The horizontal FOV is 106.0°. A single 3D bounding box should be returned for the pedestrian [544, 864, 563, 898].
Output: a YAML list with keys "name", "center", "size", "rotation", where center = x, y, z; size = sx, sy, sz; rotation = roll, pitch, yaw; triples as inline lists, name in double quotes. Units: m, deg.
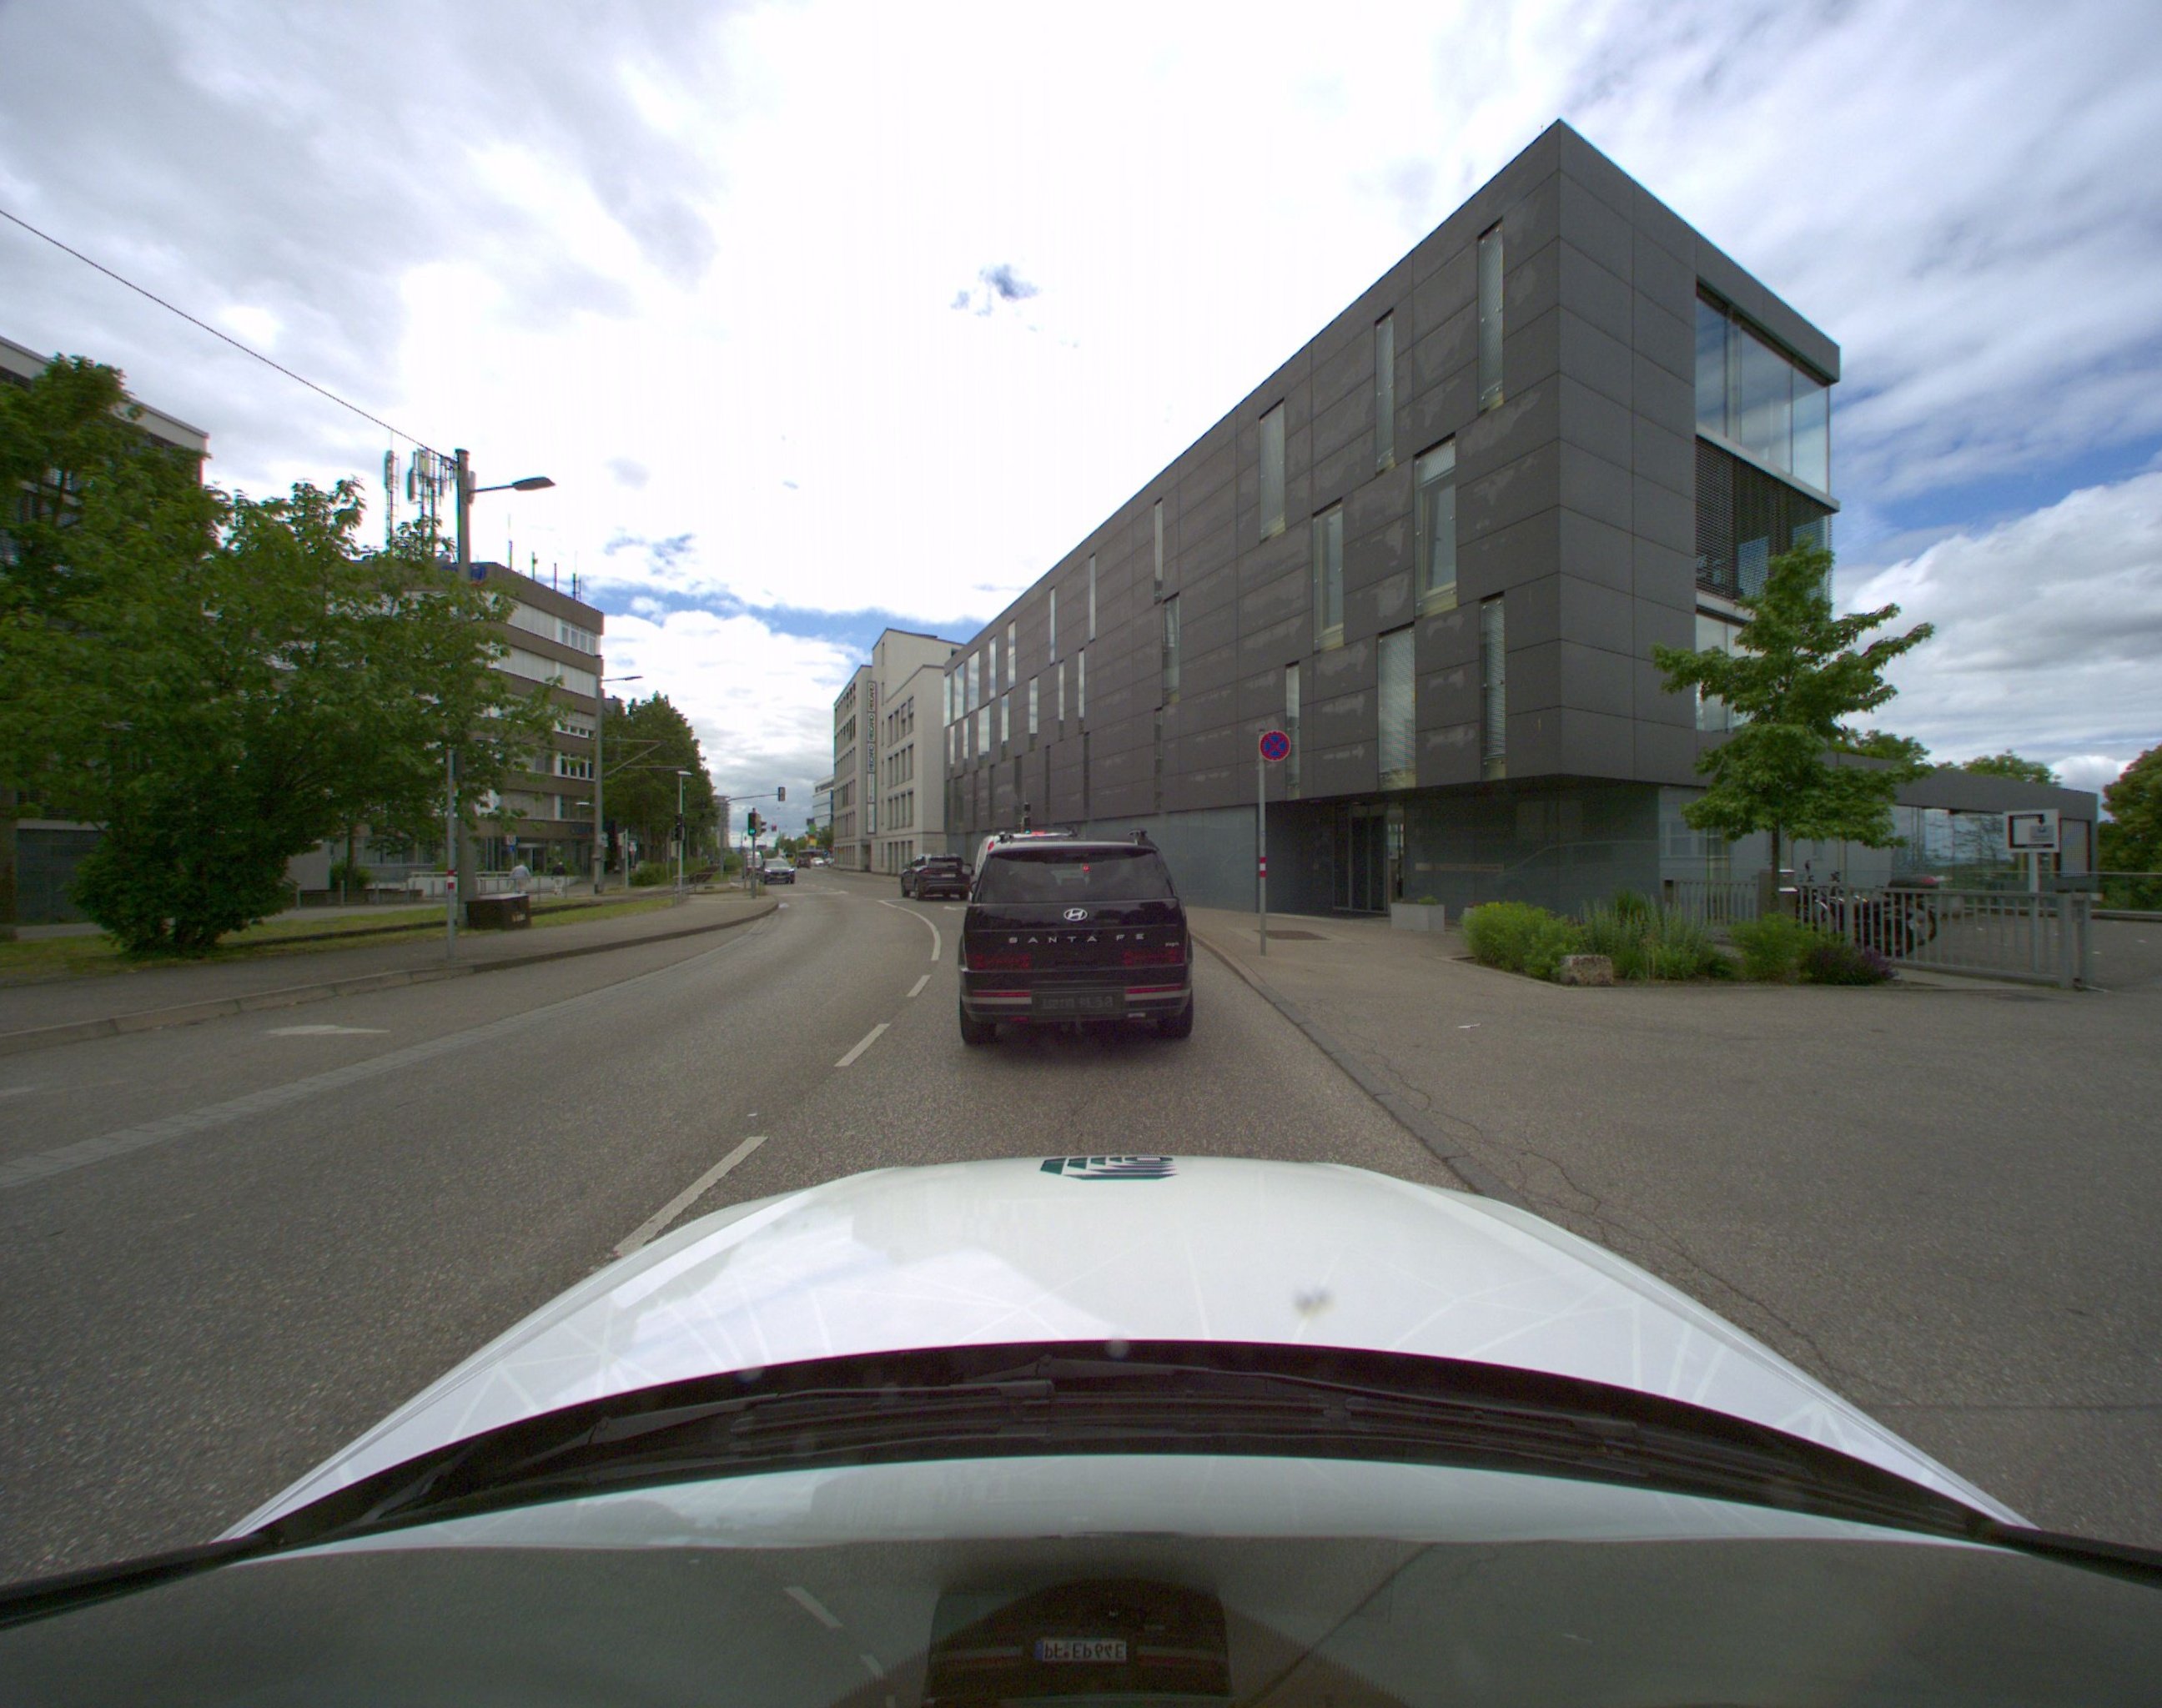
- name: "pedestrian"
  center: [-27.135, 1.403, 41.902]
  size: [0.690, 1.705, 0.678]
  rotation: [-2, 0, -21]

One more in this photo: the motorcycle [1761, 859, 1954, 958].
- name: "motorcycle"
  center: [11.960, 0.774, 12.656]
  size: [0.669, 1.393, 2.112]
  rotation: [0, 0, -17]

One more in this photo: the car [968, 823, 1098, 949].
- name: "car"
  center: [-1.062, 0.501, 15.306]
  size: [1.932, 1.994, 4.519]
  rotation: [0, 0, -10]

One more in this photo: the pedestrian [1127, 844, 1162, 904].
- name: "pedestrian"
  center: [1.840, 0.577, 23.682]
  size: [0.714, 1.694, 0.859]
  rotation: [1, -1, -24]

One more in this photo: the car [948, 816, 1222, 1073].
- name: "car"
  center: [-0.117, 0.628, 7.931]
  size: [1.905, 1.749, 4.390]
  rotation: [-1, 0, -4]

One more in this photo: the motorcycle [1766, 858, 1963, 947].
- name: "motorcycle"
  center: [13.425, 0.762, 14.090]
  size: [0.669, 1.393, 2.449]
  rotation: [0, 0, -17]

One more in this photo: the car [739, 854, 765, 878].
- name: "car"
  center: [-26.380, 0.929, 65.284]
  size: [1.689, 1.808, 4.316]
  rotation: [-2, 0, -25]

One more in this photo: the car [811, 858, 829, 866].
- name: "car"
  center: [-45.593, 1.381, 142.166]
  size: [2.008, 1.502, 3.958]
  rotation: [0, 0, -34]

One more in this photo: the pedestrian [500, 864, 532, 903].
- name: "pedestrian"
  center: [-22.472, 1.161, 32.391]
  size: [0.852, 1.526, 0.987]
  rotation: [-2, 0, -25]

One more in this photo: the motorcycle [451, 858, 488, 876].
- name: "motorcycle"
  center: [-40.406, 0.855, 53.823]
  size: [1.878, 1.199, 0.566]
  rotation: [-1, 0, -8]

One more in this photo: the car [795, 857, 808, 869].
- name: "car"
  center: [-41.511, 1.313, 120.832]
  size: [1.765, 1.609, 4.159]
  rotation: [0, 0, -20]

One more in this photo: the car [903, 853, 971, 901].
- name: "car"
  center: [-5.317, 0.773, 29.667]
  size: [1.765, 1.609, 4.159]
  rotation: [0, 0, -20]

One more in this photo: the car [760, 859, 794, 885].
- name: "car"
  center: [-18.745, 1.103, 50.110]
  size: [1.776, 1.479, 3.969]
  rotation: [-2, 0, -23]

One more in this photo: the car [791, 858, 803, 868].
- name: "car"
  center: [-47.947, 1.486, 137.557]
  size: [1.765, 1.609, 4.159]
  rotation: [0, 0, -20]
